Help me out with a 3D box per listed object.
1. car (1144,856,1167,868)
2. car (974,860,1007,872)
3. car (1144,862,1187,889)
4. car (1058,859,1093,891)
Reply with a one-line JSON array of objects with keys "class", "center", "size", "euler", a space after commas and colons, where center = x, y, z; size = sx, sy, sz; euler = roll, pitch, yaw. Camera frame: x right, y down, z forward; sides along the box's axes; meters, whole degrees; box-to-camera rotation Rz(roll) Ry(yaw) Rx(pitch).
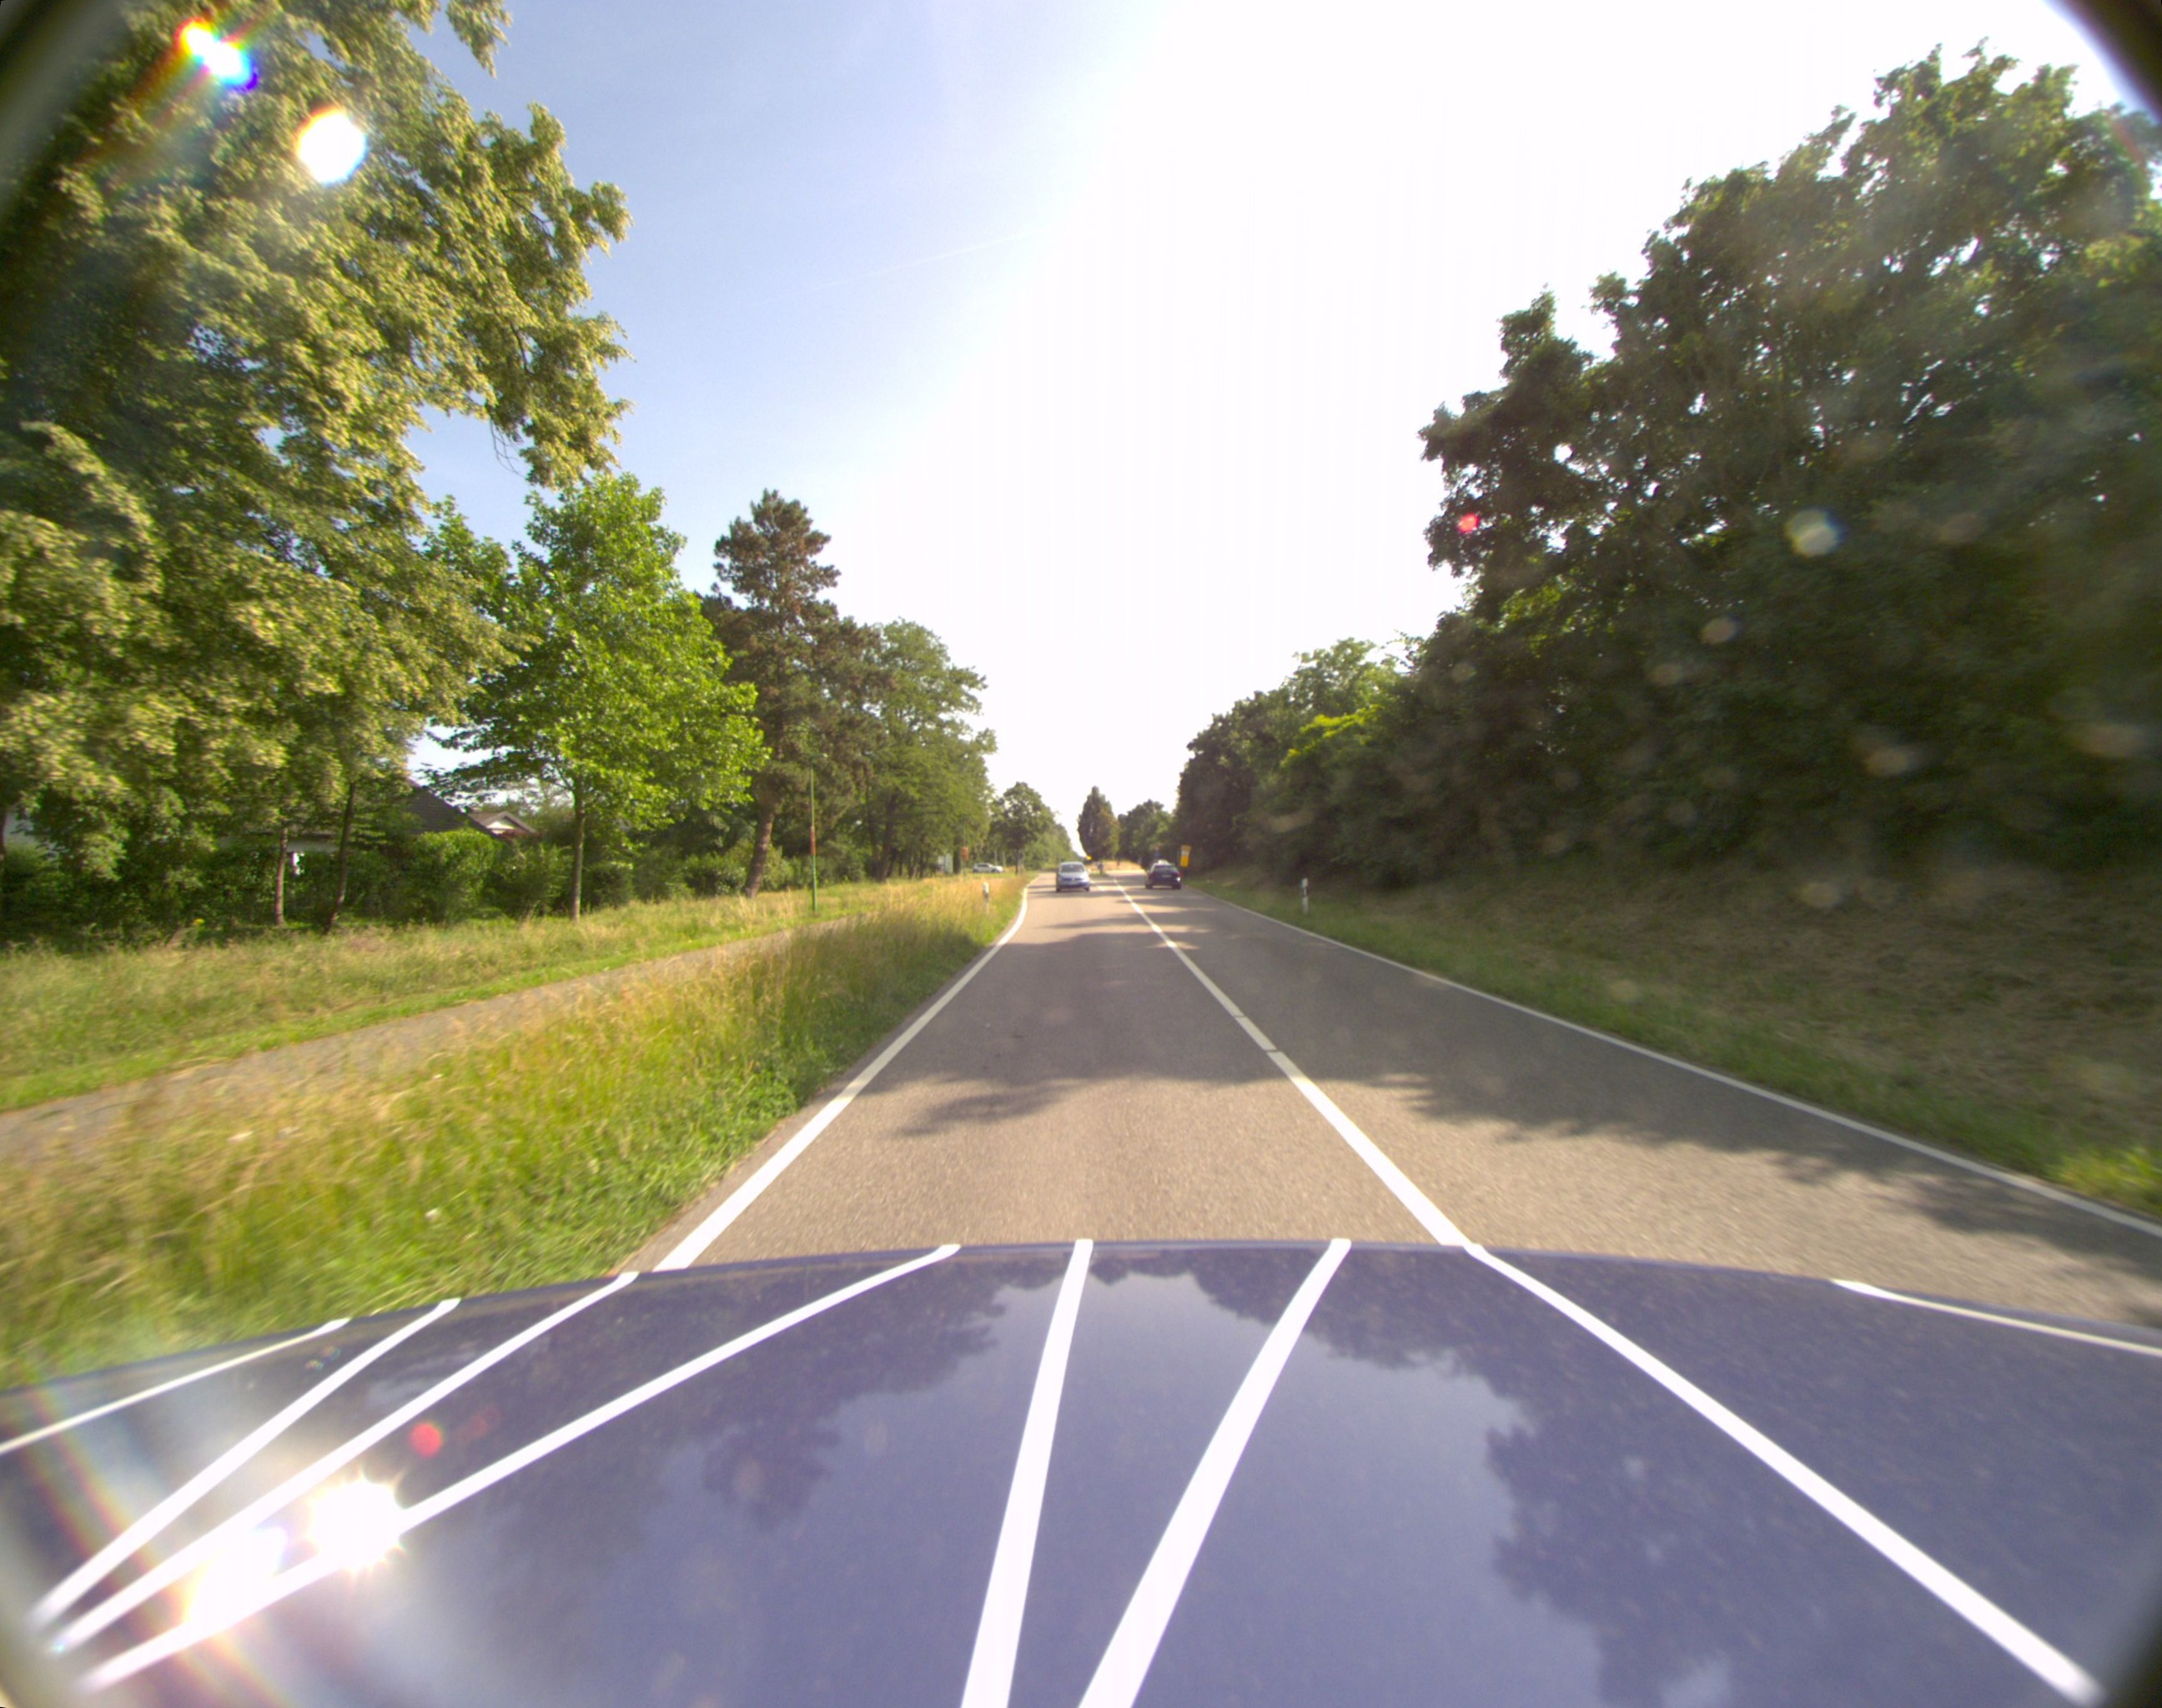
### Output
[{"class": "car", "center": [10.410, 1.086, 105.713], "size": [1.949, 1.592, 4.628], "euler": [-1, 0, 23]}, {"class": "car", "center": [-12.084, 1.603, 101.774], "size": [3.996, 1.477, 2.001], "euler": [-1, 0, 4]}, {"class": "car", "center": [4.681, 1.158, 42.770], "size": [1.875, 1.415, 4.577], "euler": [1, 0, 0]}, {"class": "car", "center": [-0.283, 1.096, 41.115], "size": [1.808, 1.592, 4.269], "euler": [-1, 0, 0]}]
